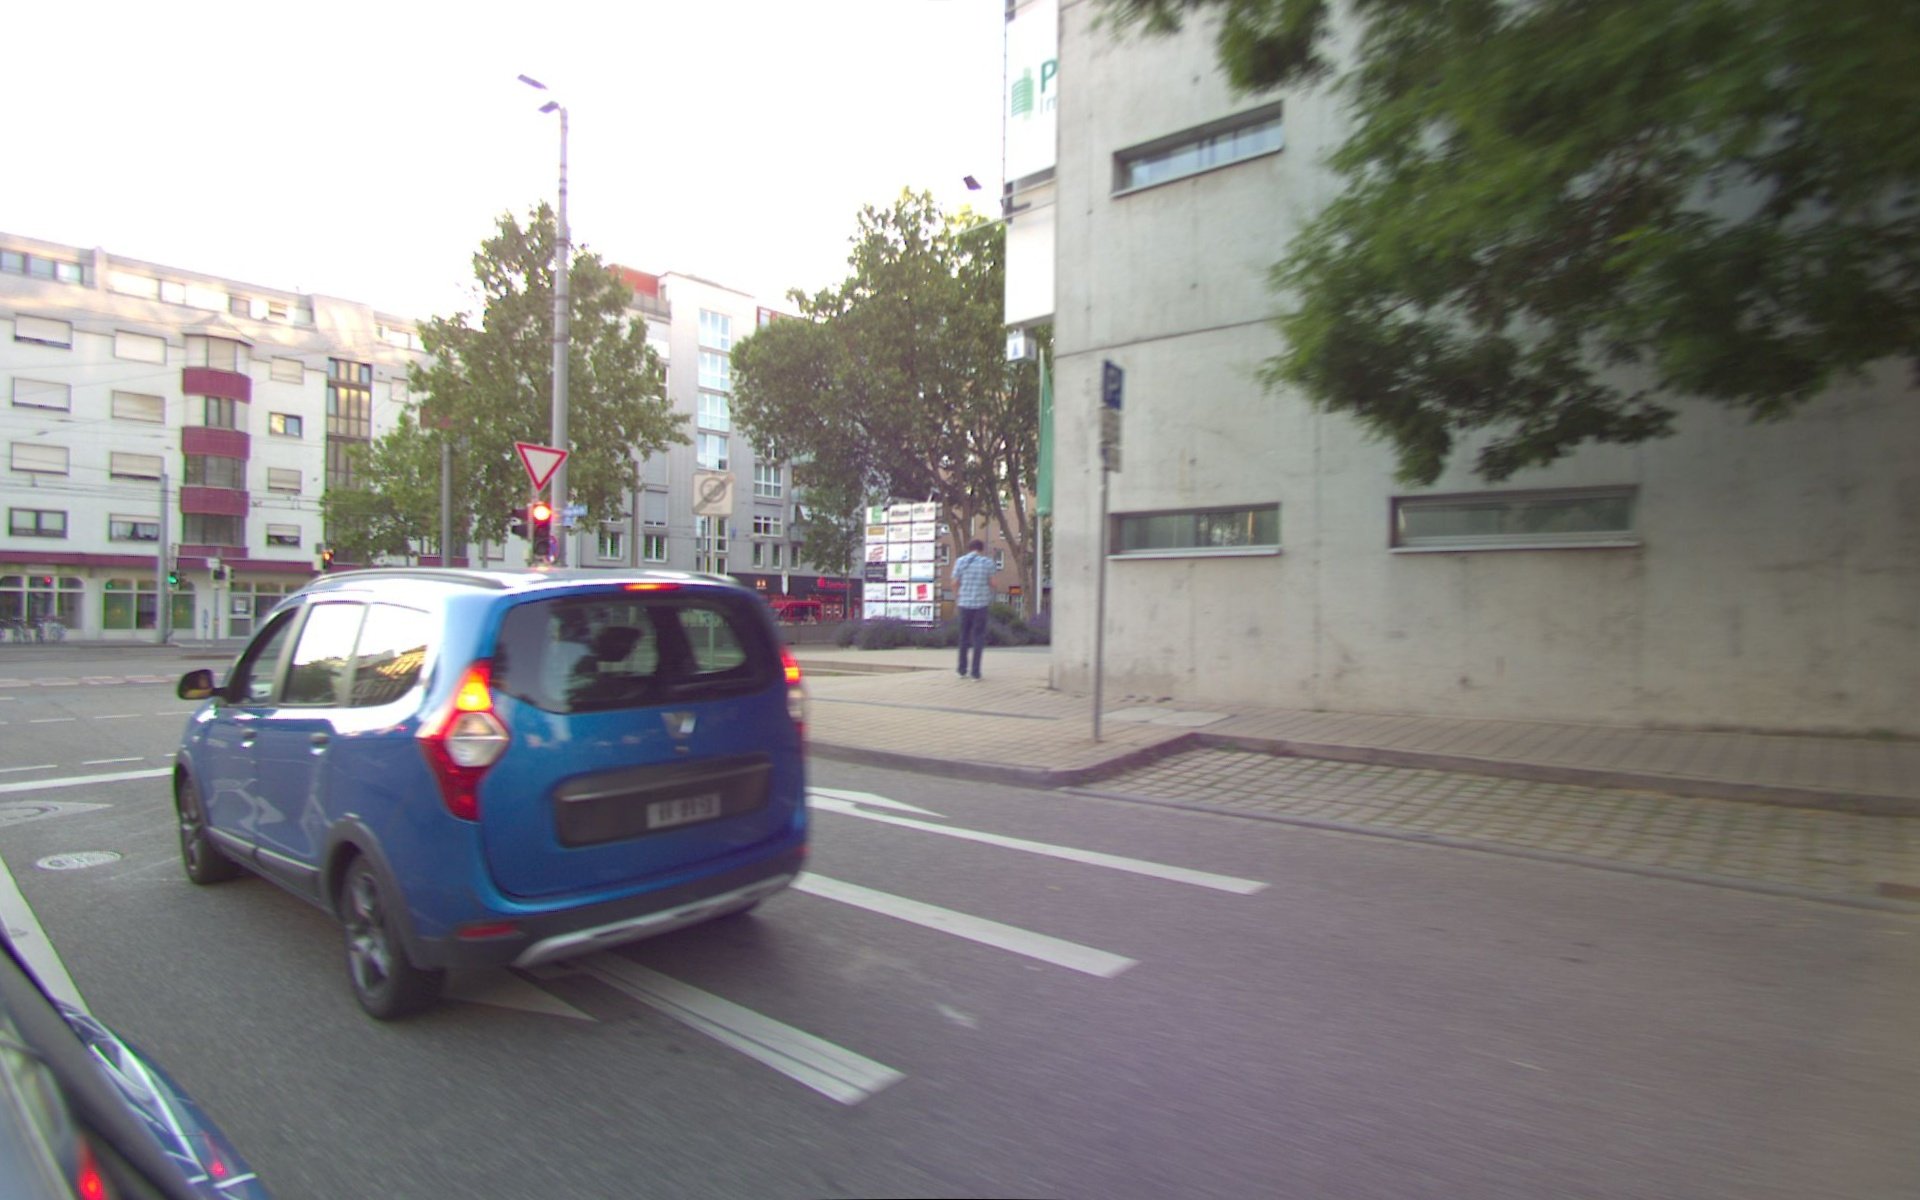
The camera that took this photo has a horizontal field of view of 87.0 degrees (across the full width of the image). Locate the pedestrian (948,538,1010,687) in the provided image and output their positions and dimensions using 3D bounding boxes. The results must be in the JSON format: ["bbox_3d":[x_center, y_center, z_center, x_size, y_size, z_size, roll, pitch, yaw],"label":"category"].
[{"bbox_3d":[0.256,0.144,13.604,0.691,1.896,0.878,-4,4,2],"label":"pedestrian"}]

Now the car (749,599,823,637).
[{"bbox_3d":[-12.001,1.255,70.187,1.851,2.560,5.011,-1,-2,42],"label":"car"}]

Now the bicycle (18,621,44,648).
[{"bbox_3d":[-37.623,1.382,40.973,1.901,1.054,0.508,-1,-2,39],"label":"bicycle"}]

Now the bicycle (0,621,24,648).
[{"bbox_3d":[-38.034,1.370,40.548,1.901,1.054,0.508,-1,-2,39],"label":"bicycle"}]

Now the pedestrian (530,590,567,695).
[{"bbox_3d":[-6.944,0.708,17.098,0.537,1.714,0.710,1,-1,-21],"label":"pedestrian"}]

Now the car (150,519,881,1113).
[{"bbox_3d":[-2.480,0.641,4.978,4.273,1.691,1.729,-1,-1,43],"label":"car"}]

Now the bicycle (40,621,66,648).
[{"bbox_3d":[-37.019,1.392,41.306,1.901,1.054,0.508,-1,-2,39],"label":"bicycle"}]

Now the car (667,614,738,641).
[{"bbox_3d":[-16.016,1.699,63.028,1.665,1.608,4.045,-1,-2,42],"label":"car"}]

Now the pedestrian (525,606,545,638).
[{"bbox_3d":[-24.350,1.277,57.972,0.692,1.820,0.824,-1,-2,43],"label":"pedestrian"}]

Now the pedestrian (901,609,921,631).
[{"bbox_3d":[-3.328,1.371,69.054,0.937,1.464,0.984,-1,-2,41],"label":"pedestrian"}]

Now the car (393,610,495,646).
[{"bbox_3d":[-24.575,1.327,48.300,1.665,1.608,4.045,-1,-2,42],"label":"car"}]
